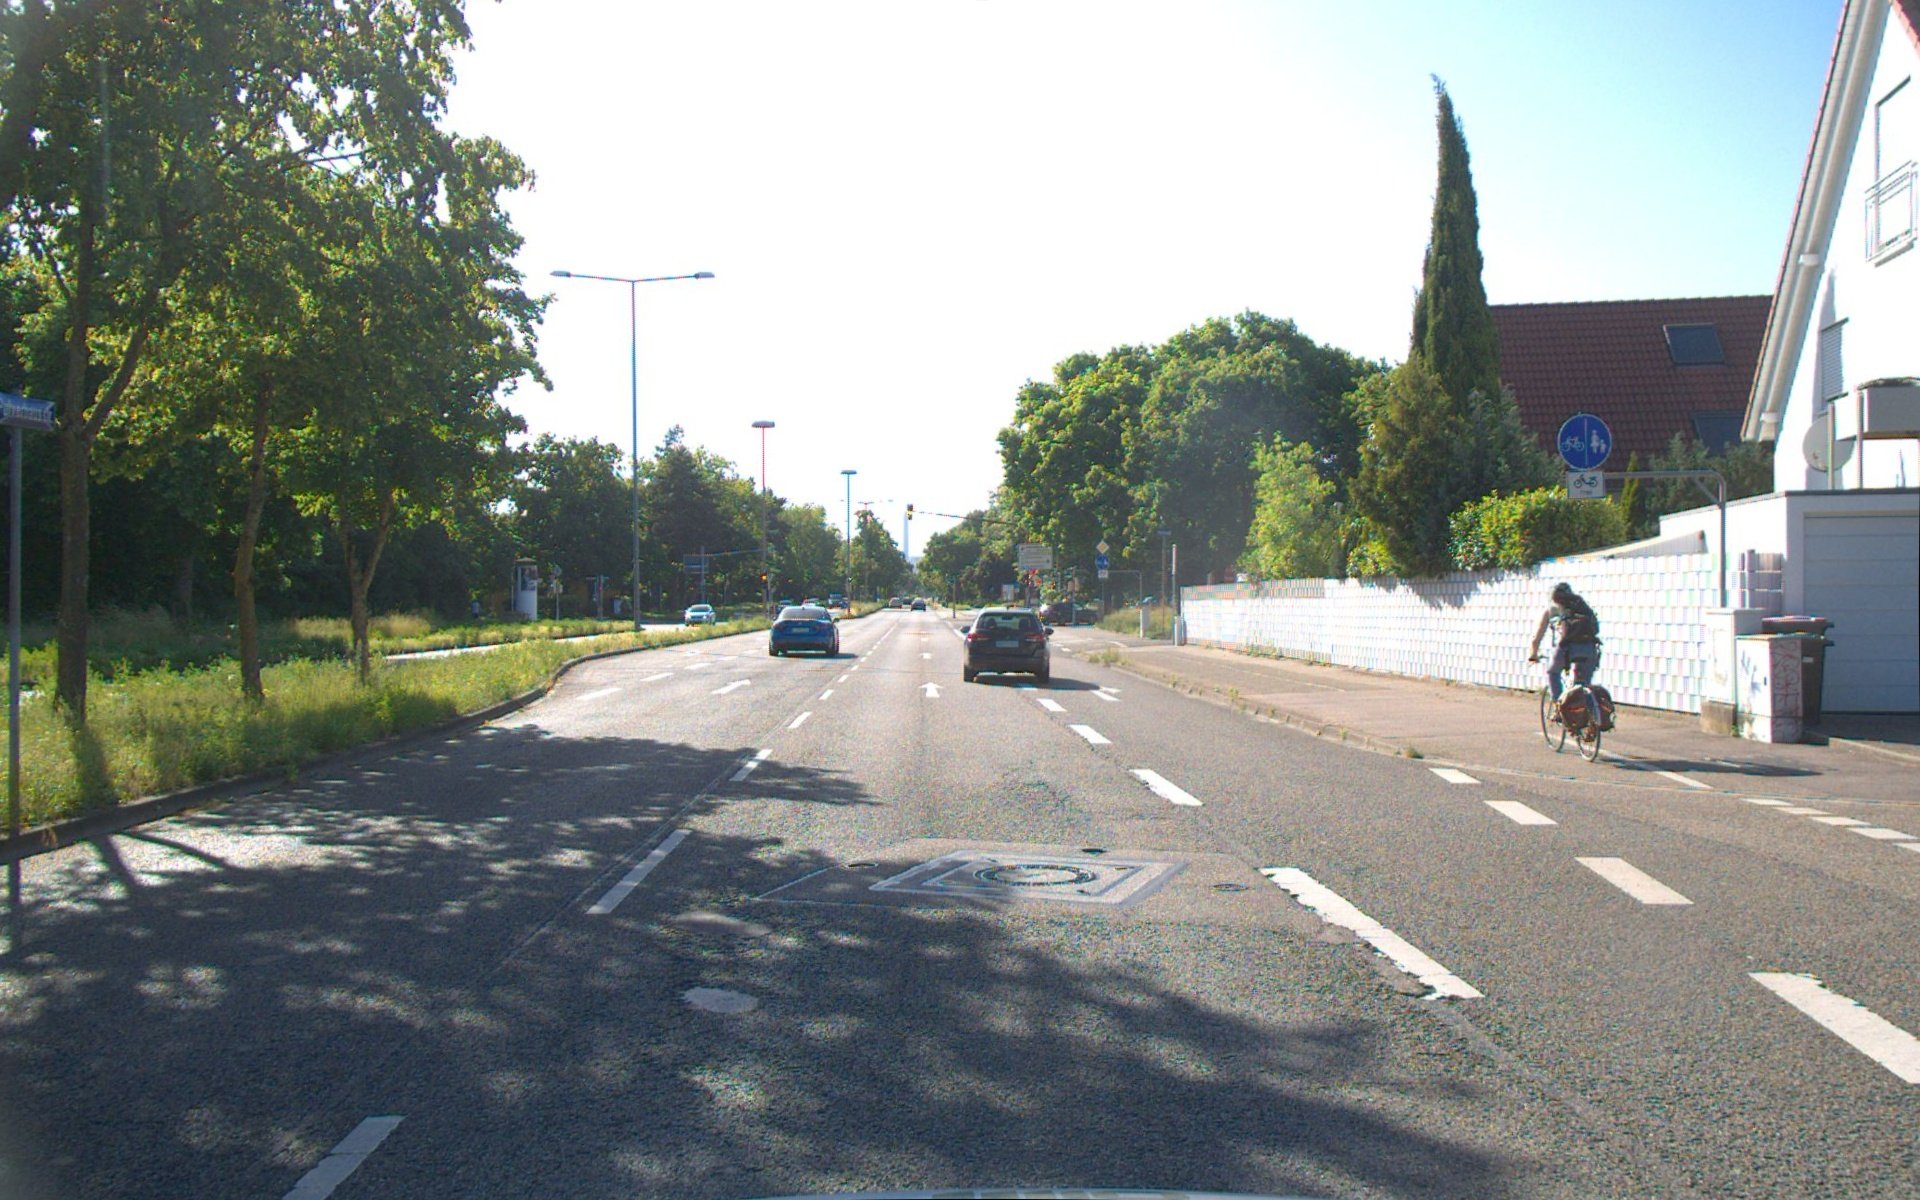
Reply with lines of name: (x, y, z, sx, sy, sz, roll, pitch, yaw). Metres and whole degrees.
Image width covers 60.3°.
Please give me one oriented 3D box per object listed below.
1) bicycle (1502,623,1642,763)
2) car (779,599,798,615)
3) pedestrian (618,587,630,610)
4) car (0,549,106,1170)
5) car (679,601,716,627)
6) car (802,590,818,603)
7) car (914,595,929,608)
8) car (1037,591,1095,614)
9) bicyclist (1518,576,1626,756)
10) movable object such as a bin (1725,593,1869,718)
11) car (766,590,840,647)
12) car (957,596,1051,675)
bicycle: (5.970, 0.870, 16.245, 0.562, 1.175, 2.141, -3, 1, 1)
car: (-19.499, 0.823, 188.005, 1.826, 1.713, 4.259, 2, 0, -1)
pedestrian: (-27.874, -0.134, 137.384, 0.828, 1.865, 0.550, 0, 7, 2)
car: (-3.370, 0.712, 2.762, 1.661, 1.660, 4.416, -1, 0, -1)
car: (-18.244, 1.006, 115.159, 1.873, 1.733, 4.406, 1, -1, -1)
car: (-20.605, -0.439, 226.931, 1.826, 1.713, 3.999, 2, 0, -1)
car: (-4.755, 0.173, 204.978, 1.697, 1.612, 3.839, 2, 0, -1)
car: (7.001, 0.175, 109.003, 3.810, 1.485, 1.710, 0, 1, -43)
bicyclist: (5.950, 0.620, 16.118, 0.617, 1.661, 0.982, -3, 1, 1)
movable object such as a bin: (8.705, 0.566, 17.251, 0.980, 1.226, 1.063, -2, -1, 6)
car: (-4.551, 0.516, 48.368, 1.850, 1.579, 3.999, -1, 0, -1)
car: (0.857, 0.691, 34.038, 1.720, 1.535, 3.807, 0, 0, -2)
